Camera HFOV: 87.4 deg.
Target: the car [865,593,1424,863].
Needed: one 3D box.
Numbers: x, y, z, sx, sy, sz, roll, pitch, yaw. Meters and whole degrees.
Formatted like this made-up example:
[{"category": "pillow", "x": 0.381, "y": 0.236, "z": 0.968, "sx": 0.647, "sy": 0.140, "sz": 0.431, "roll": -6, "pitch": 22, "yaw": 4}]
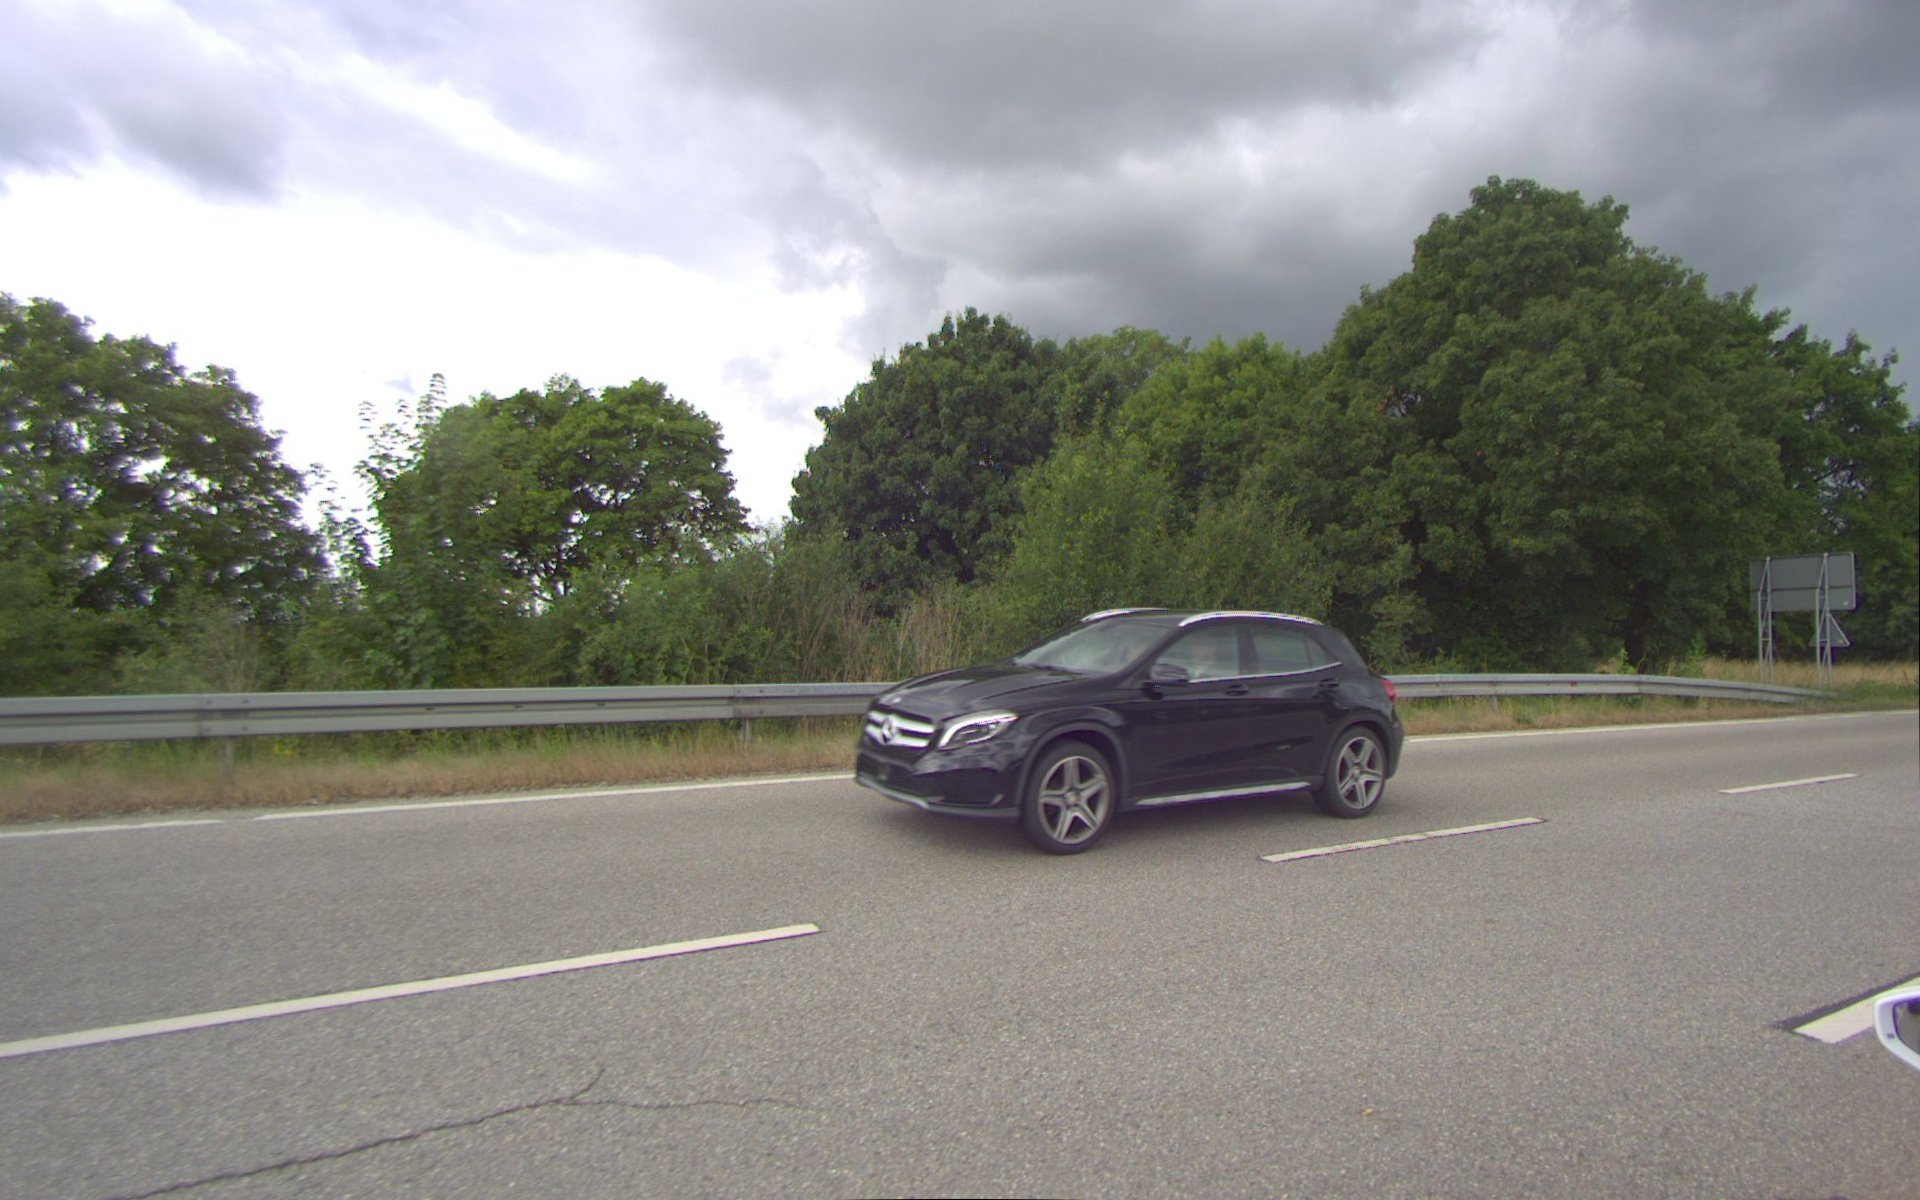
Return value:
[{"category": "car", "x": 1.451, "y": 0.787, "z": 7.497, "sx": 3.953, "sy": 1.543, "sz": 1.703, "roll": 2, "pitch": -1, "yaw": -30}]
